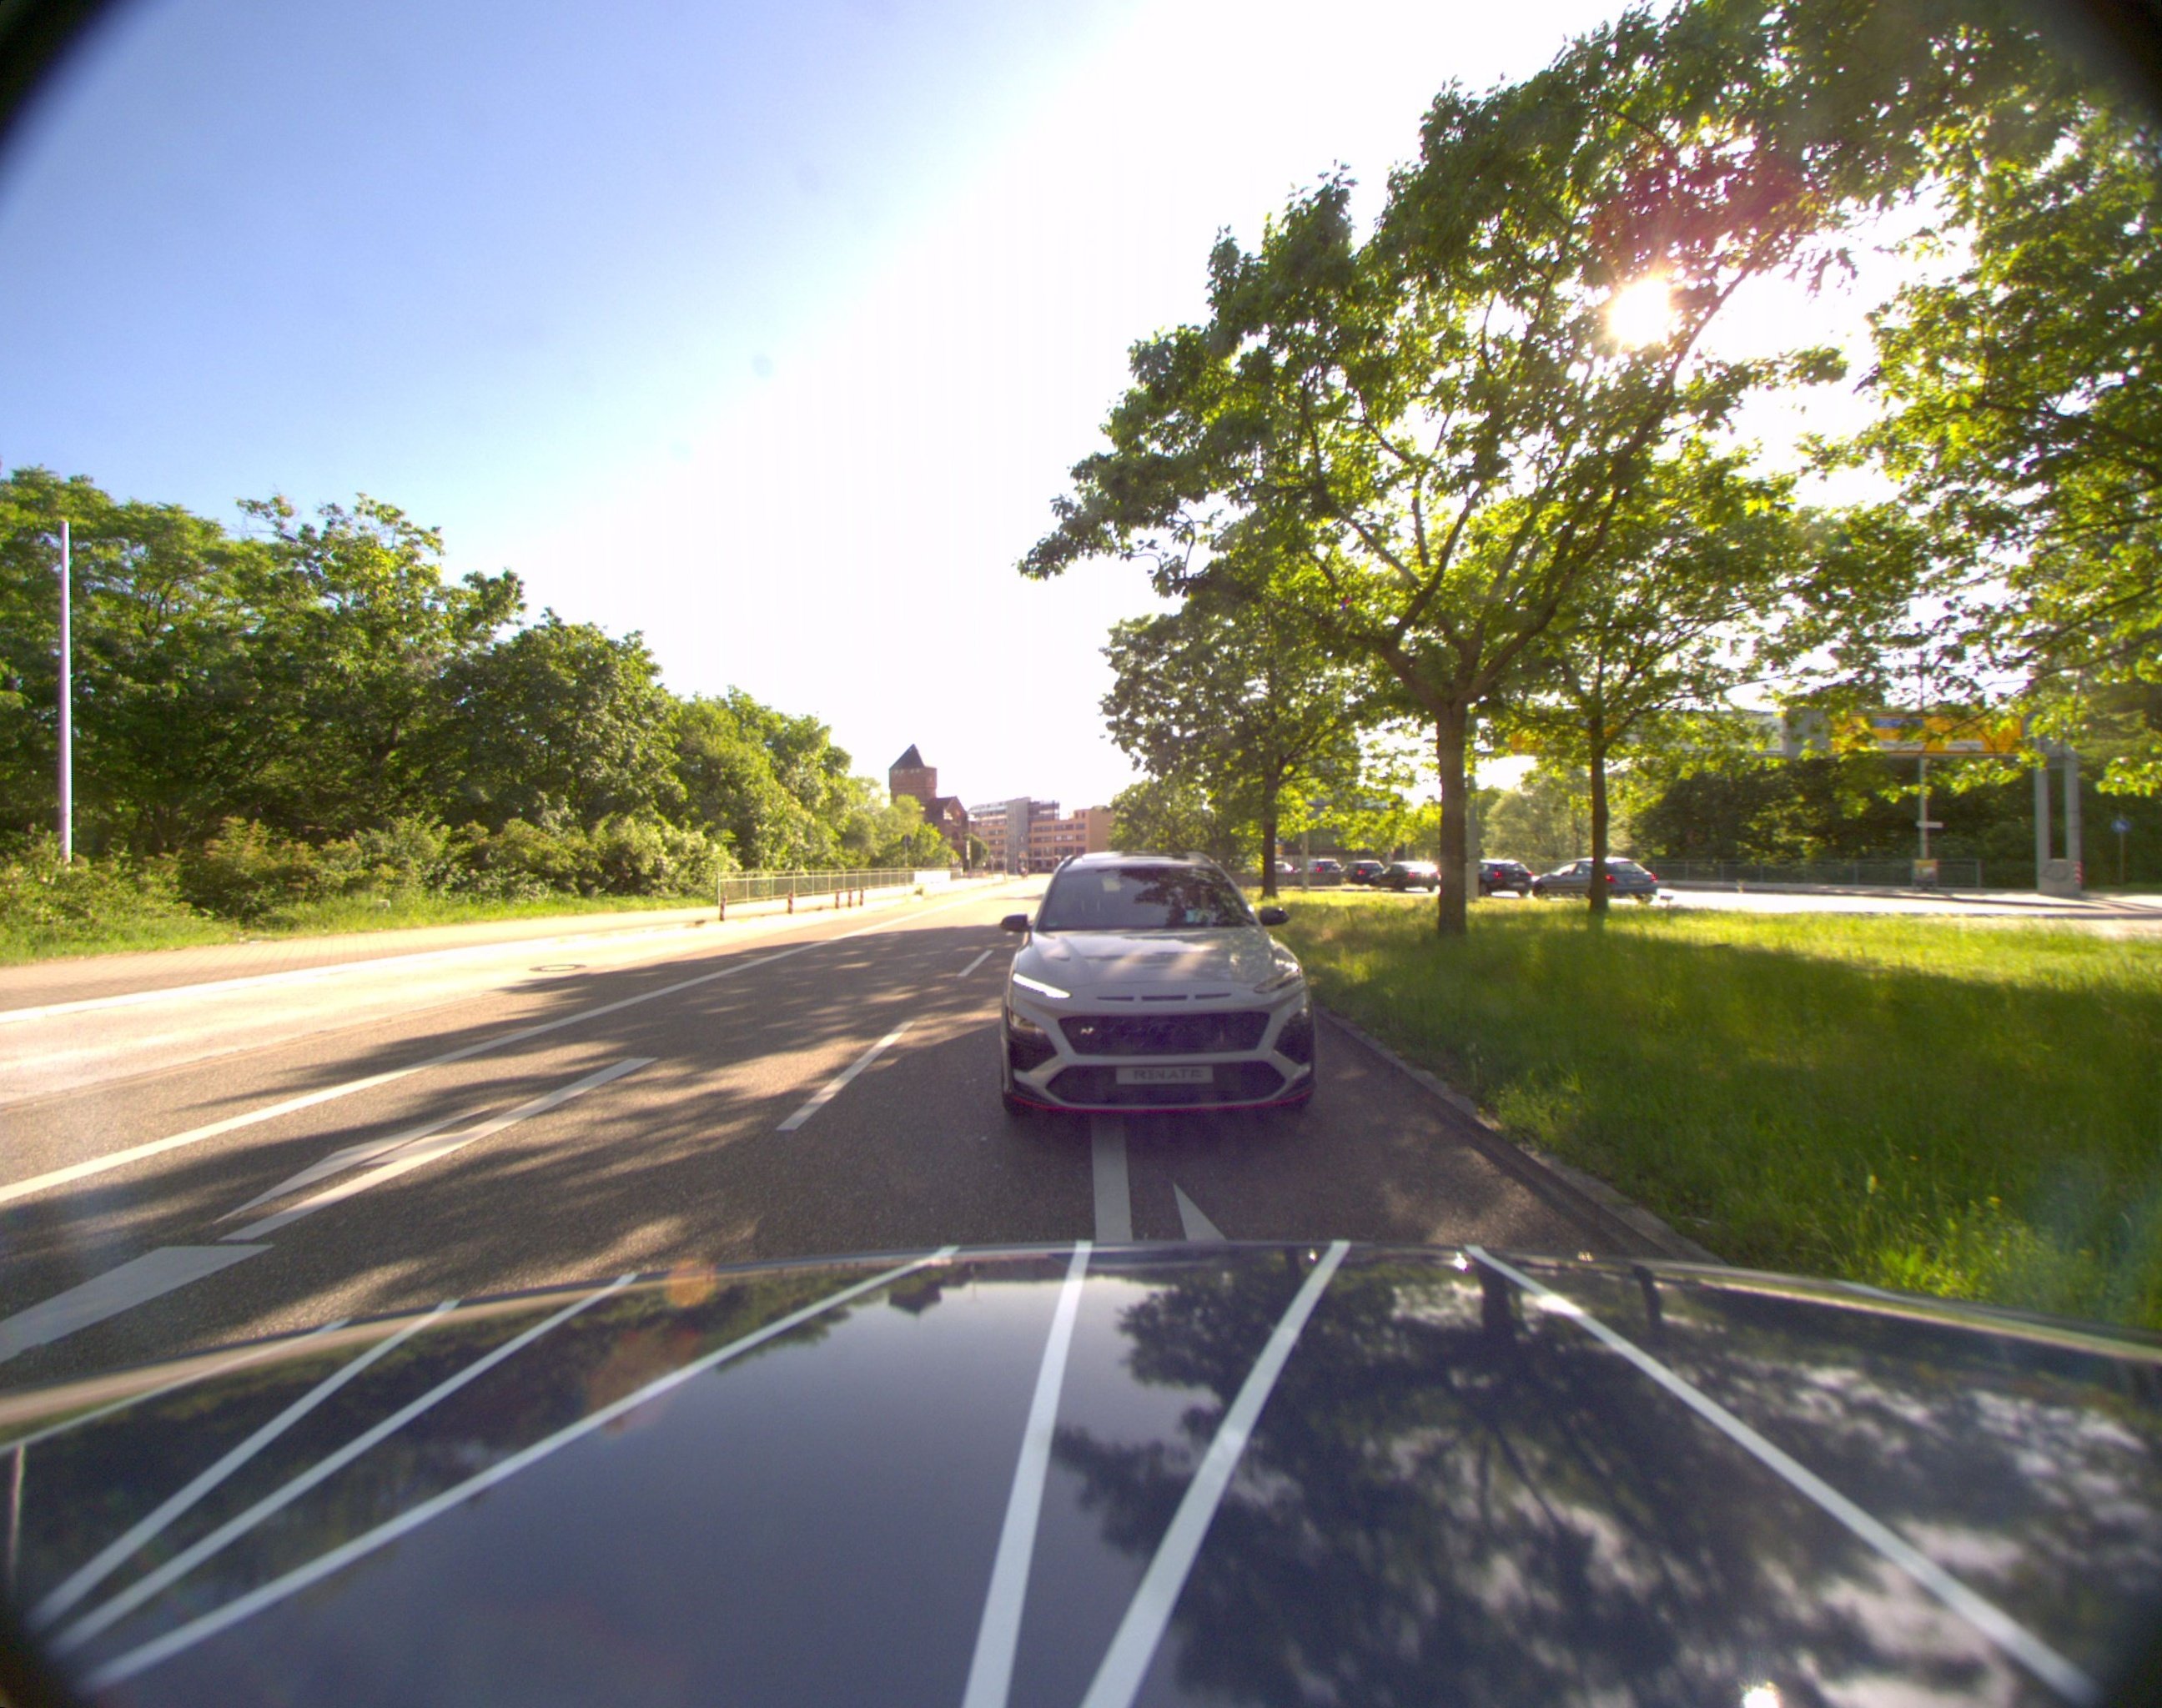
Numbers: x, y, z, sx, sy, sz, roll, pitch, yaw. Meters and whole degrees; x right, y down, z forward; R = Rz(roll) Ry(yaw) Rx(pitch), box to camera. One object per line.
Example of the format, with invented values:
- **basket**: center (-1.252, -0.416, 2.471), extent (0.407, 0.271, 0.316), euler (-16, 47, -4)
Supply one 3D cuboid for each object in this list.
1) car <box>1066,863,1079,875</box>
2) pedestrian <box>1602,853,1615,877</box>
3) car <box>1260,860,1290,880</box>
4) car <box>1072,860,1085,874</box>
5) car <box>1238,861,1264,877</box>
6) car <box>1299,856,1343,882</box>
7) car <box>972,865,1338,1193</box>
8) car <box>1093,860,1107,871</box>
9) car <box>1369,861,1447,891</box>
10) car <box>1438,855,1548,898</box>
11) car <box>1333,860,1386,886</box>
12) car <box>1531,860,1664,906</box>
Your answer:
- **car**: center (-1.101, 2.047, 103.441), extent (1.677, 1.463, 4.151), euler (-1, 0, 1)
- **pedestrian**: center (33.329, 0.691, 47.993), extent (0.421, 1.490, 0.545), euler (-1, 0, -7)
- **car**: center (14.321, 1.202, 56.123), extent (1.228, 1.331, 2.882), euler (-1, -3, -6)
- **car**: center (-0.366, 1.994, 118.181), extent (1.959, 2.002, 4.000), euler (-1, 0, 2)
- **car**: center (13.934, 1.274, 62.422), extent (1.199, 1.252, 2.768), euler (-1, -2, -6)
- **car**: center (14.971, 0.987, 47.524), extent (1.450, 1.549, 3.202), euler (-1, -2, -6)
- **car**: center (0.386, 0.880, 5.681), extent (1.752, 1.523, 3.988), euler (-1, 0, 1)
- **car**: center (2.550, 1.550, 103.233), extent (1.892, 1.420, 4.387), euler (-1, 0, 1)
- **car**: center (15.475, 0.993, 36.215), extent (1.623, 1.305, 4.066), euler (-1, 0, -6)
- **car**: center (16.187, 0.842, 30.142), extent (1.875, 1.541, 4.221), euler (-1, 0, -4)
- **car**: center (15.151, 1.028, 41.471), extent (1.481, 1.331, 3.202), euler (-1, -1, -6)
- **car**: center (16.381, 0.879, 24.319), extent (1.561, 1.355, 3.608), euler (-1, -1, -6)
